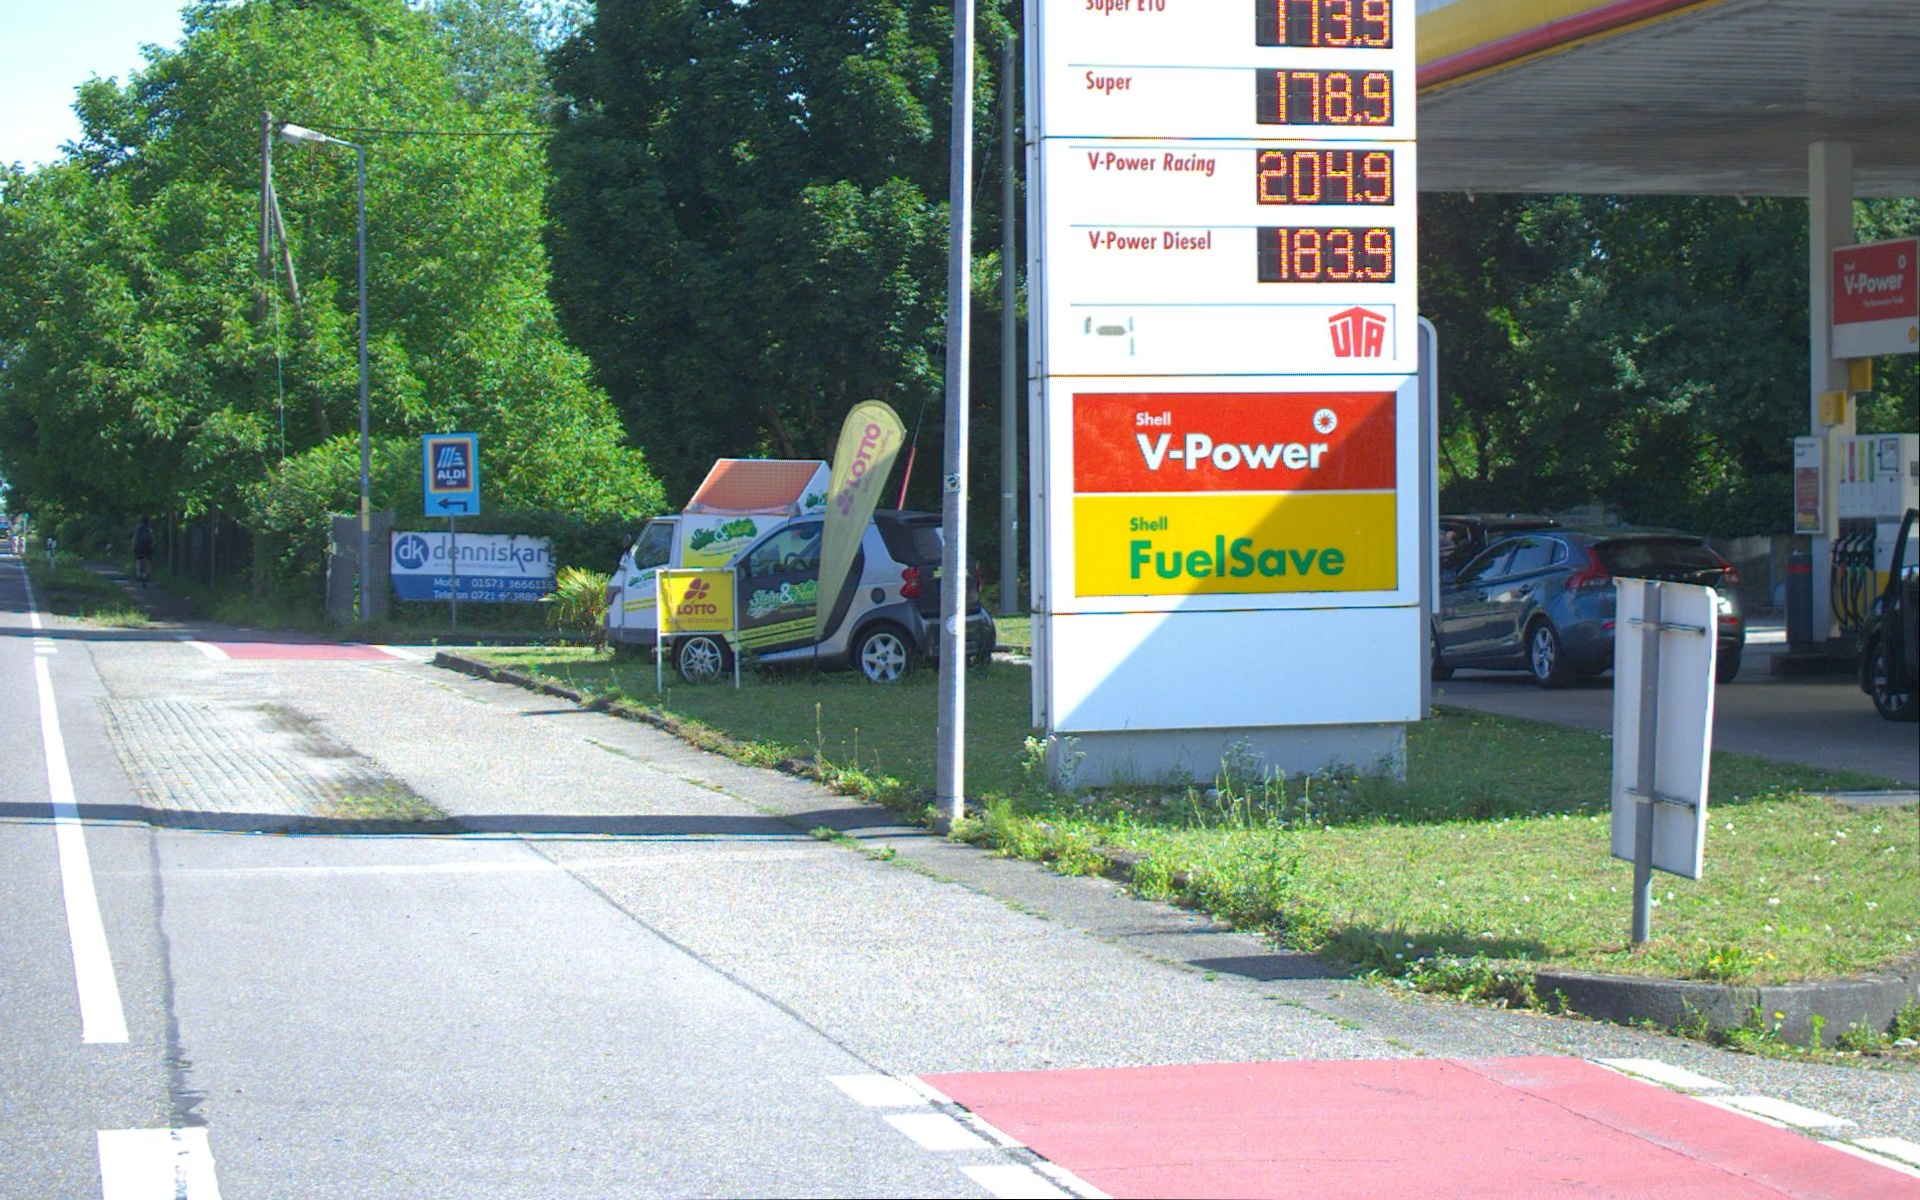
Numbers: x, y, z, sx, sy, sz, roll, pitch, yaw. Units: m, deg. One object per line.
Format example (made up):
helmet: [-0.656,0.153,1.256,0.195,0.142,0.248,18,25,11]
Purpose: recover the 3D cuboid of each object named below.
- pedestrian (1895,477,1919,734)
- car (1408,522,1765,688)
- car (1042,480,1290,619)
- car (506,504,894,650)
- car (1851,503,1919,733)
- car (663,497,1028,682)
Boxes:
pedestrian: [6.748,0.034,23.030,0.672,1.723,0.812,-1,1,-6]
car: [5.508,-0.002,30.686,1.797,1.356,3.849,-1,2,-12]
car: [2.704,-0.674,46.164,1.993,1.760,4.001,1,1,-18]
car: [-2.898,-0.249,38.317,3.986,1.525,1.586,1,1,-22]
car: [7.724,0.134,22.798,1.759,1.573,3.879,-1,2,-16]
car: [-0.991,-0.087,29.718,2.726,1.525,1.575,0,0,29]
